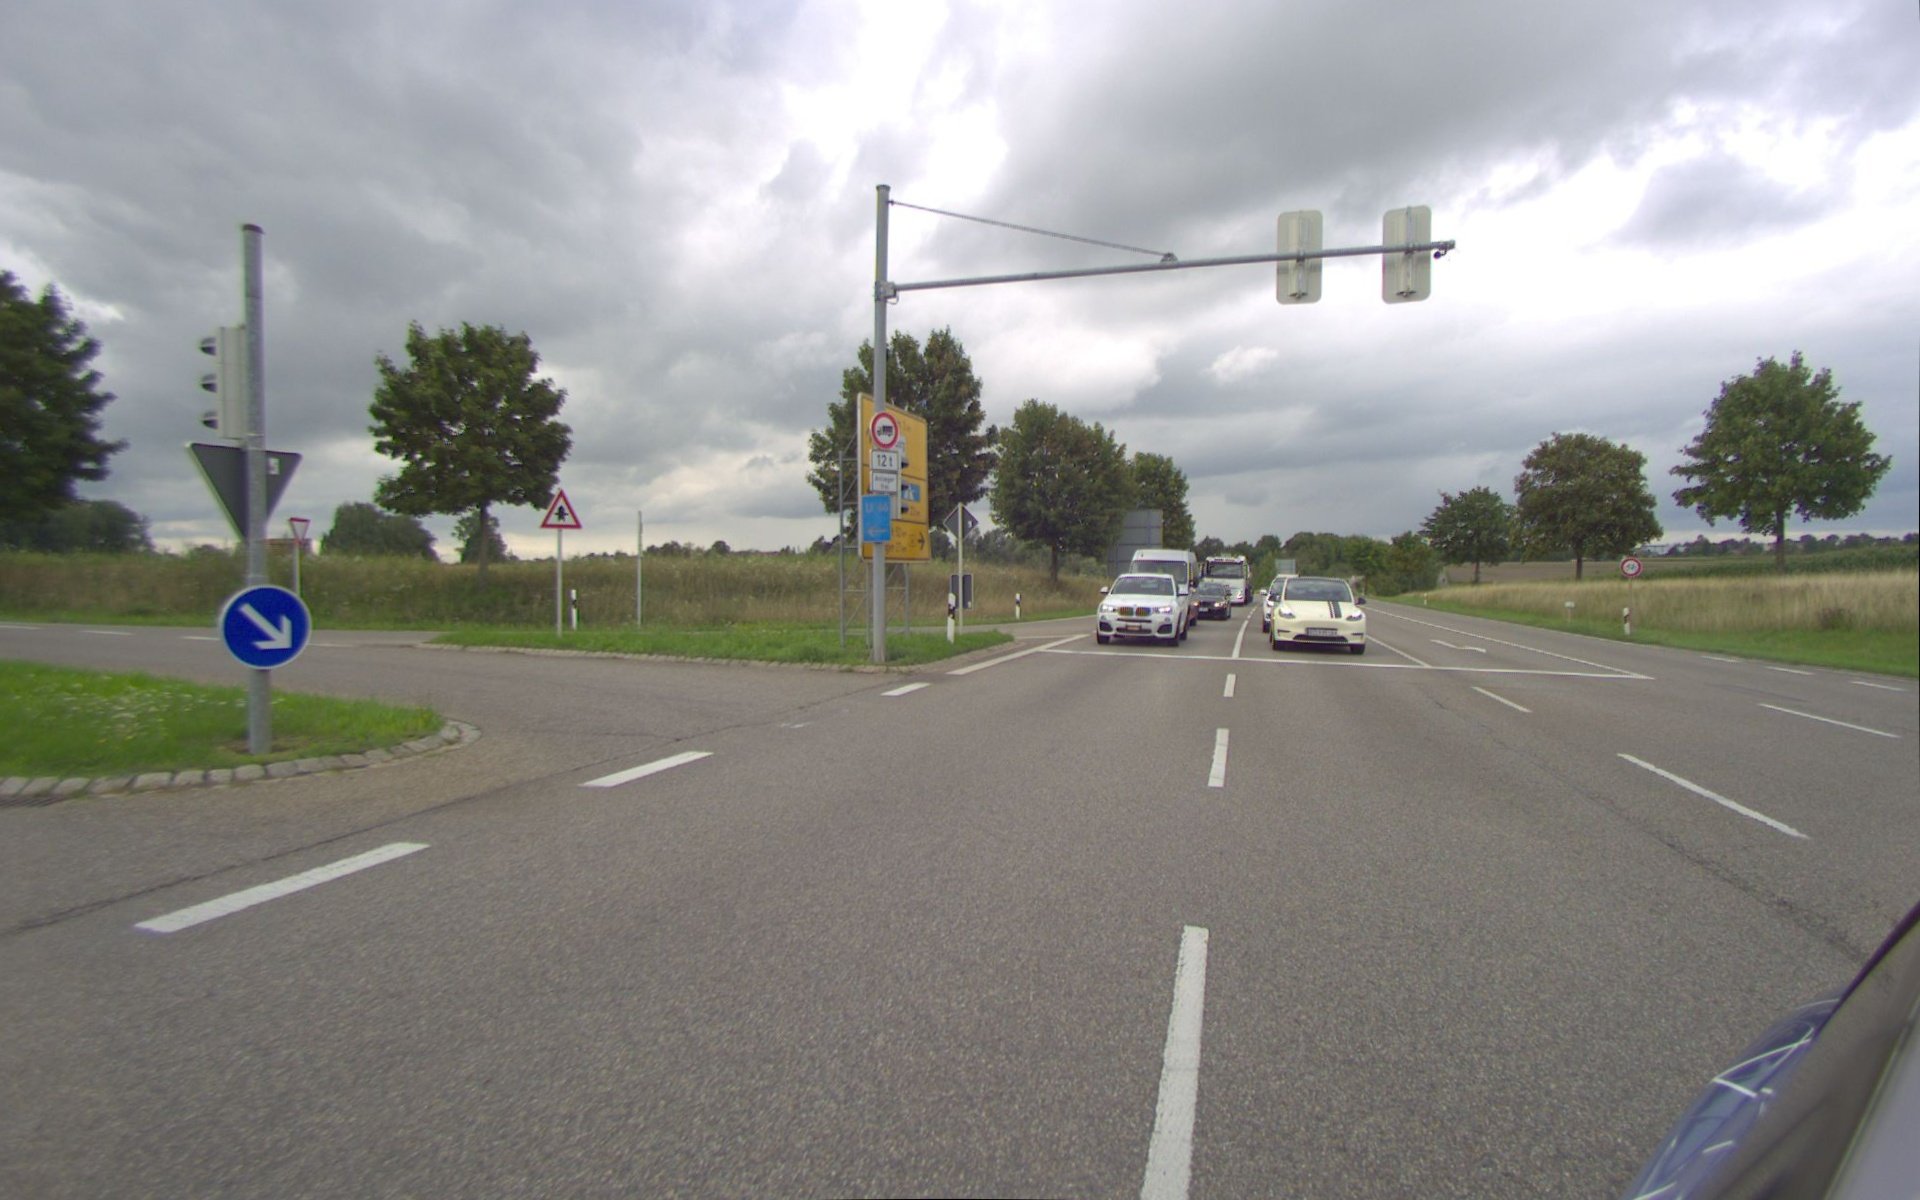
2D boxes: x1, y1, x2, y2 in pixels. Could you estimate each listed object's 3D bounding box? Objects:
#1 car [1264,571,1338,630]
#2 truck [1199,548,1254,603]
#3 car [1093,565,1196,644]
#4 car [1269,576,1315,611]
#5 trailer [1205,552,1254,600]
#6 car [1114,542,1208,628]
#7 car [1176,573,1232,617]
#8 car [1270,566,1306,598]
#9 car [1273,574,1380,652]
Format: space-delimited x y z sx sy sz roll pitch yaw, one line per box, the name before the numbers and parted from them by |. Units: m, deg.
car | 10.203 -0.036 30.554 1.973 1.650 4.300 0 1 17
truck | 16.759 -1.529 63.264 3.066 3.148 7.369 1 1 16
car | 4.456 0.051 23.960 1.972 1.649 4.254 2 2 16
car | 16.377 -0.368 50.098 1.972 1.612 4.425 1 1 16
trailer | 19.279 -1.694 71.881 3.066 3.129 10.607 1 1 16
car | 6.460 -0.487 32.003 2.366 2.472 5.483 0 1 17
car | 9.706 -0.220 40.054 1.972 1.649 4.253 0 1 17
car | 21.636 -1.192 66.750 2.141 2.039 4.654 1 1 18
car | 8.254 0.222 23.163 1.972 1.584 4.724 0 1 16
